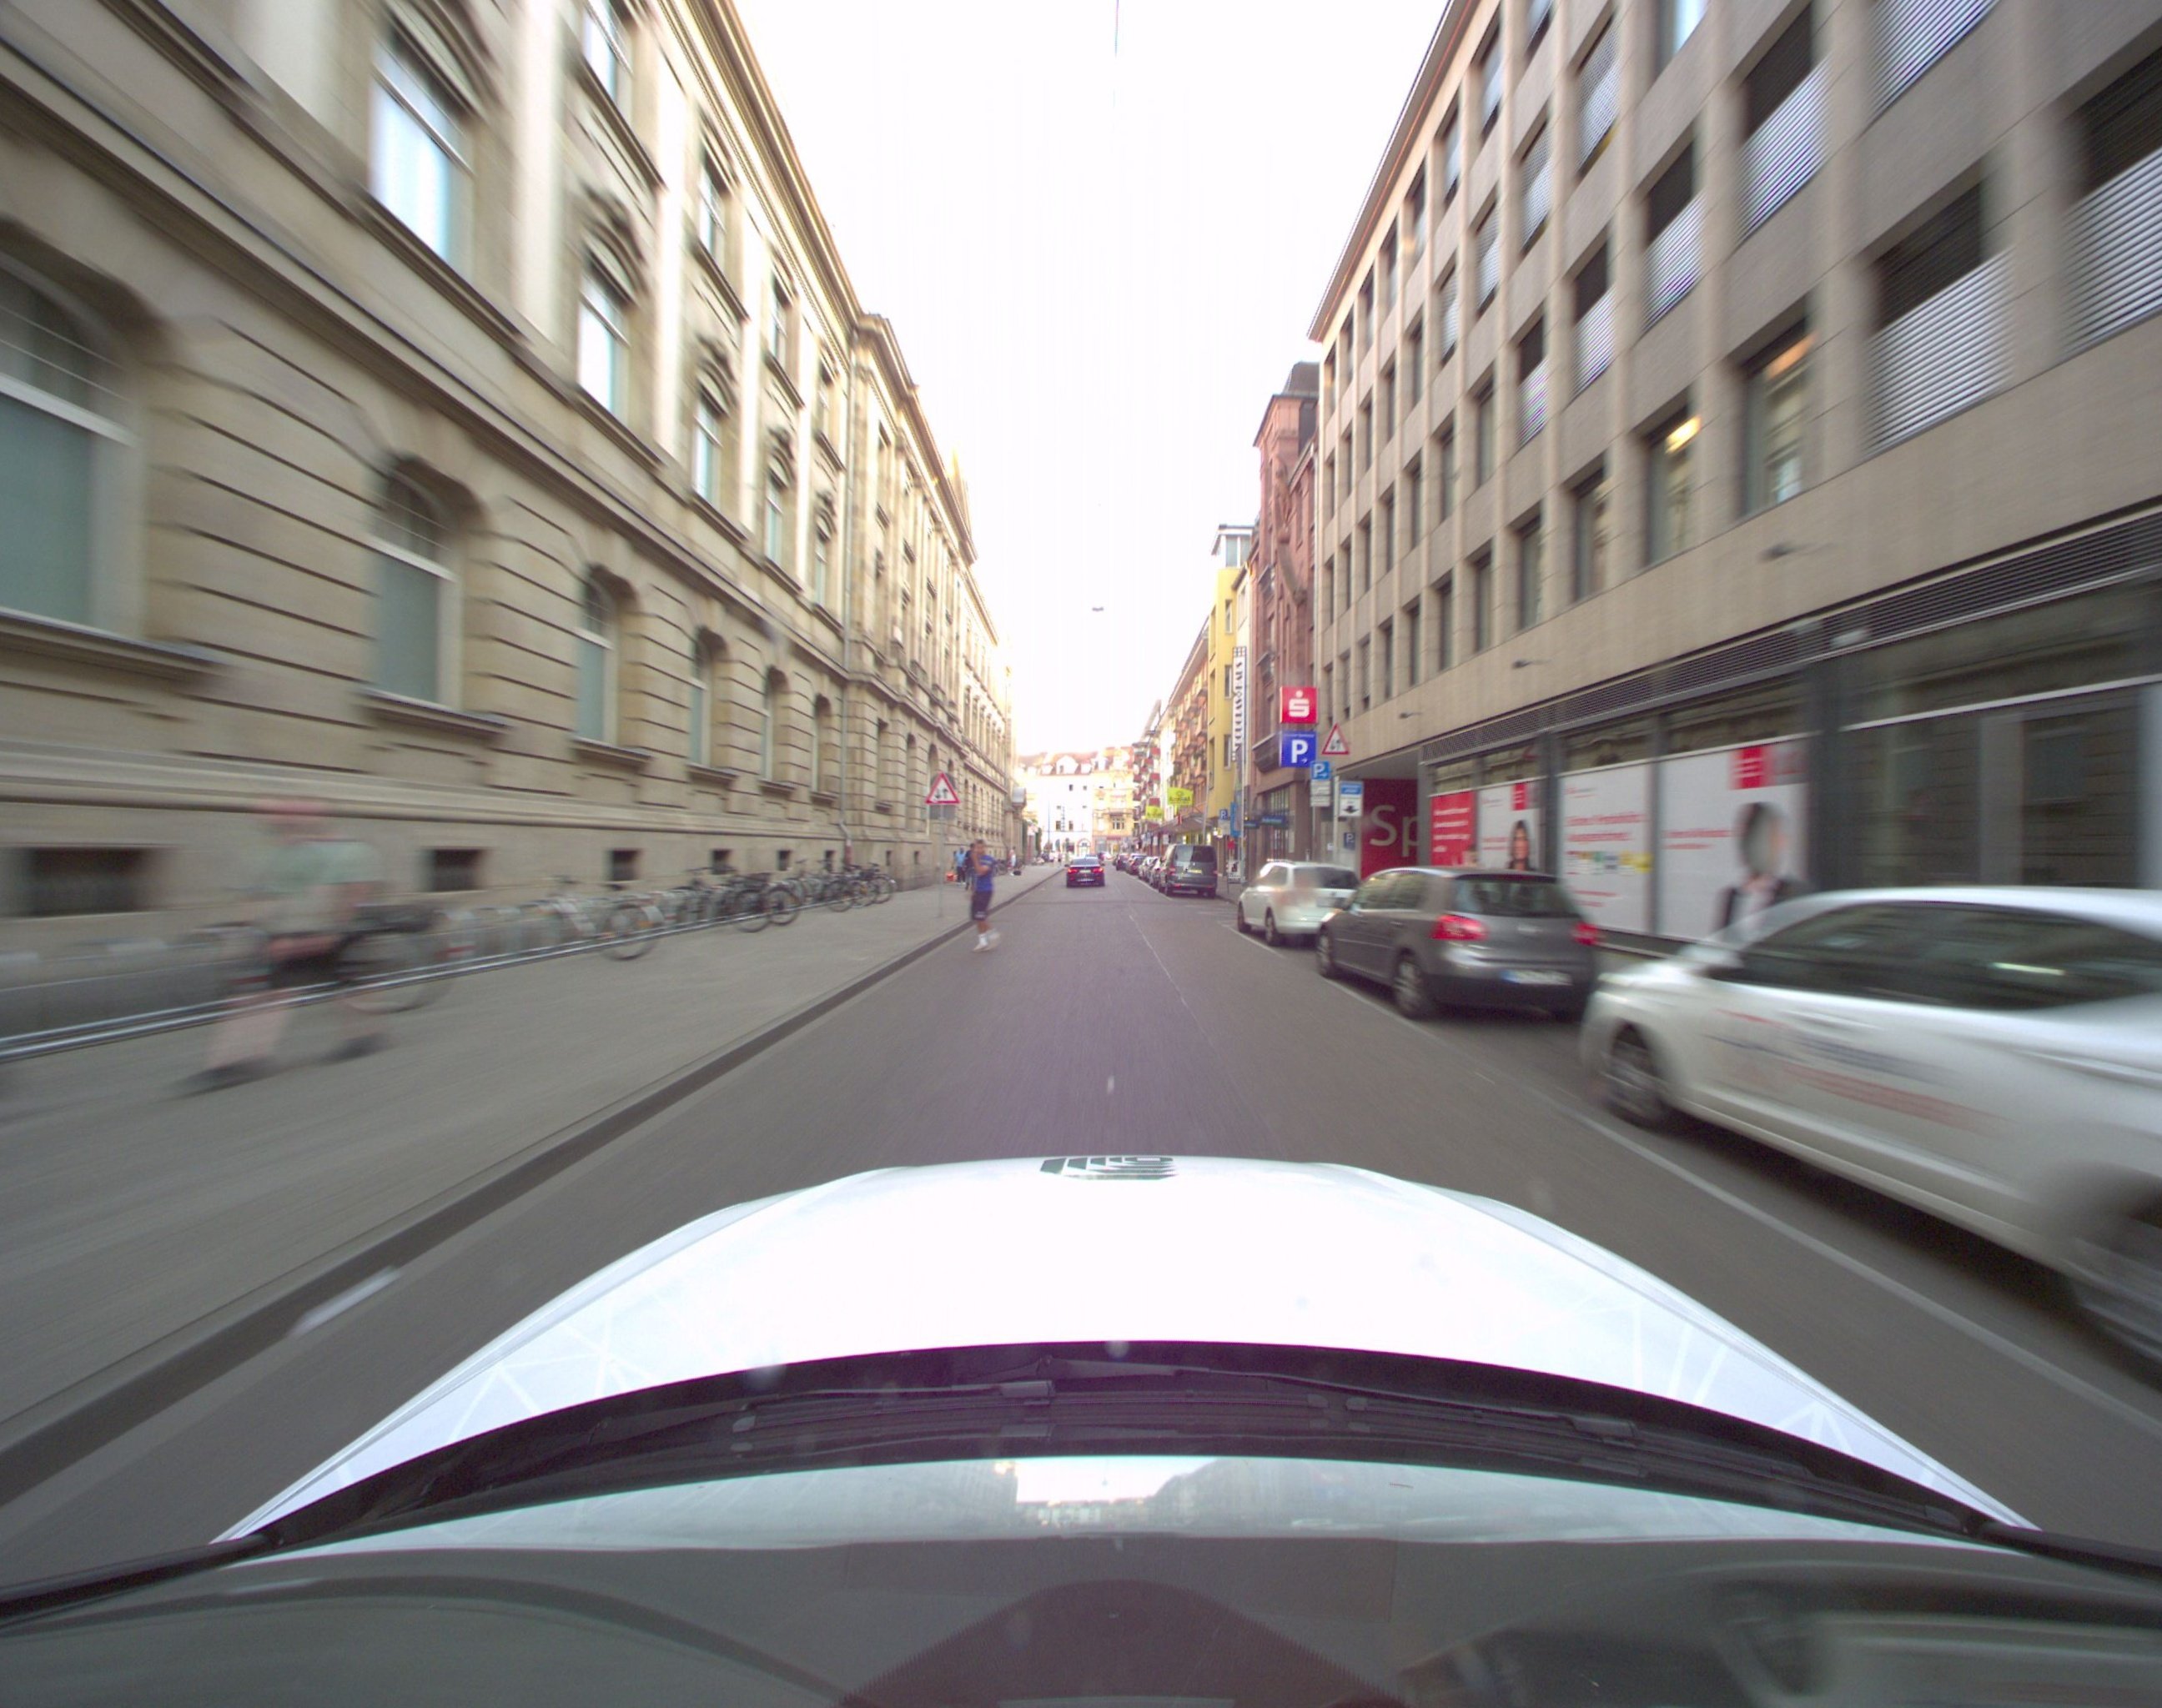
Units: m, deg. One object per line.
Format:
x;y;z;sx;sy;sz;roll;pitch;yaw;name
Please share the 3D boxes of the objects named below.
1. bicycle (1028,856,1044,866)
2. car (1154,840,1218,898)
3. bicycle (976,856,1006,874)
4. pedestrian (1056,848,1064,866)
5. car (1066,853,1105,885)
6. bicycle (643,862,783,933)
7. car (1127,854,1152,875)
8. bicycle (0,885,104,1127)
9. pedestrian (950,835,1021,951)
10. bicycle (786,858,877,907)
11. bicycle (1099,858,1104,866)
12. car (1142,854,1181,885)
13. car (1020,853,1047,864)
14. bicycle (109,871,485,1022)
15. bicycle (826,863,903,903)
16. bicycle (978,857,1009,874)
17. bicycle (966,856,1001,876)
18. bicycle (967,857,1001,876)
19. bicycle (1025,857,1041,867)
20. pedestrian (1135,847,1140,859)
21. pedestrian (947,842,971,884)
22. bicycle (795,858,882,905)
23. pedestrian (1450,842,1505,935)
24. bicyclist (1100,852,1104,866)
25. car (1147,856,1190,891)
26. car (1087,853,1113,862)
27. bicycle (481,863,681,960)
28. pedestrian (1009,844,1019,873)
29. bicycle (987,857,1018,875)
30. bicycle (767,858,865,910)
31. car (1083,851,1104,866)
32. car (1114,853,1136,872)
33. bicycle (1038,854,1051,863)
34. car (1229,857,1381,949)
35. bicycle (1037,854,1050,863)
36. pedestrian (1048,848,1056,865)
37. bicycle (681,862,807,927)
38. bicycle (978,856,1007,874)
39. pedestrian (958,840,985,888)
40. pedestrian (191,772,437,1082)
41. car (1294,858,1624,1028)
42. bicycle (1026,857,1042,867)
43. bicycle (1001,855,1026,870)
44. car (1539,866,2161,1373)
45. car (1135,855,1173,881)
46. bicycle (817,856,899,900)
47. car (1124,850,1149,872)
-5.360;0.807;97.332;1.786;1.107;0.500;1;0;3;bicycle
4.071;0.578;32.236;1.840;2.058;5.053;2;0;0;car
-5.595;0.682;50.468;1.791;1.107;0.499;2;-1;-6;bicycle
-2.285;0.296;88.665;0.741;1.893;1.051;2;0;1;pedestrian
0.256;0.691;39.632;1.758;1.375;4.792;1;0;1;car
-6.086;0.706;13.556;1.935;1.078;0.728;2;-1;-7;bicycle
4.447;0.790;62.464;1.685;1.414;4.758;3;0;1;car
-6.054;0.687;3.740;2.016;1.109;0.729;2;-1;-6;bicycle
-1.538;0.604;13.124;0.825;1.789;0.769;-1;0;-41;pedestrian
-6.009;0.682;19.685;1.935;1.078;0.728;2;-1;-7;bicycle
2.668;1.019;105.010;0.534;1.107;1.801;1;0;2;bicycle
4.344;0.799;44.439;1.613;1.516;4.172;3;0;0;car
-7.217;0.680;124.297;3.984;1.501;1.886;0;0;-8;car
-6.207;0.724;6.613;2.024;1.078;0.725;3;-1;-19;bicycle
-5.988;0.793;22.641;1.931;1.046;0.721;1;0;-4;bicycle
-5.615;0.751;52.482;1.934;1.061;0.618;2;-1;-6;bicycle
-5.615;0.700;47.000;1.931;1.061;0.619;2;-1;-1;bicycle
-5.715;0.712;48.249;1.934;1.061;0.618;2;-1;-6;bicycle
-5.574;0.957;95.156;1.789;1.107;0.500;1;0;-1;bicycle
7.819;-0.092;112.078;0.645;1.661;0.655;-3;0;2;pedestrian
-5.221;0.381;34.897;0.826;1.746;0.769;3;0;1;pedestrian
-6.069;0.688;20.457;1.935;1.078;0.728;2;-1;-7;bicycle
7.185;0.607;14.793;0.646;1.635;0.650;-1;0;-1;pedestrian
2.675;0.630;104.990;0.521;1.756;0.620;1;0;2;bicyclist
4.167;0.904;39.325;1.680;1.453;4.500;3;0;2;car
3.518;0.658;150.273;4.313;1.562;1.879;0;-1;23;car
-6.126;0.696;10.066;1.933;1.078;0.729;2;-1;-3;bicycle
-4.269;0.279;51.738;0.587;1.851;0.753;2;0;-5;pedestrian
-5.172;0.784;53.523;1.932;1.061;0.619;2;-1;-2;bicycle
-5.942;0.676;18.370;1.935;1.078;0.728;2;-1;-7;bicycle
1.251;0.447;81.031;1.869;1.473;4.005;0;0;4;car
4.169;0.765;76.681;1.786;1.610;4.493;3;0;5;car
-5.206;0.624;114.893;1.791;1.107;0.499;2;0;-5;bicycle
4.011;0.807;15.303;1.651;1.448;4.307;2;0;0;car
-5.238;0.626;114.144;1.787;1.107;0.500;2;0;2;bicycle
-3.135;0.240;88.448;0.739;1.812;1.009;3;0;0;pedestrian
-6.066;0.719;14.745;1.935;1.078;0.728;2;-1;-7;bicycle
-5.632;0.699;51.668;1.791;1.107;0.499;2;-1;-6;bicycle
-4.090;0.366;30.446;0.806;1.750;0.969;2;-1;1;pedestrian
-4.789;0.425;5.149;0.715;1.780;0.801;2;0;1;pedestrian
3.887;0.794;9.329;1.652;1.448;4.443;2;0;-1;car
-5.450;0.952;94.810;1.788;1.107;0.500;1;0;0;bicycle
-5.501;0.704;66.389;1.940;1.061;0.617;4;-1;-15;bicycle
4.006;0.812;3.782;1.651;1.448;3.870;2;0;1;car
4.409;0.818;49.611;1.687;1.411;4.636;3;0;-2;car
-5.920;0.633;21.723;1.931;1.078;0.748;2;-1;-1;bicycle
4.555;0.573;67.432;1.746;1.668;4.758;3;0;1;car
